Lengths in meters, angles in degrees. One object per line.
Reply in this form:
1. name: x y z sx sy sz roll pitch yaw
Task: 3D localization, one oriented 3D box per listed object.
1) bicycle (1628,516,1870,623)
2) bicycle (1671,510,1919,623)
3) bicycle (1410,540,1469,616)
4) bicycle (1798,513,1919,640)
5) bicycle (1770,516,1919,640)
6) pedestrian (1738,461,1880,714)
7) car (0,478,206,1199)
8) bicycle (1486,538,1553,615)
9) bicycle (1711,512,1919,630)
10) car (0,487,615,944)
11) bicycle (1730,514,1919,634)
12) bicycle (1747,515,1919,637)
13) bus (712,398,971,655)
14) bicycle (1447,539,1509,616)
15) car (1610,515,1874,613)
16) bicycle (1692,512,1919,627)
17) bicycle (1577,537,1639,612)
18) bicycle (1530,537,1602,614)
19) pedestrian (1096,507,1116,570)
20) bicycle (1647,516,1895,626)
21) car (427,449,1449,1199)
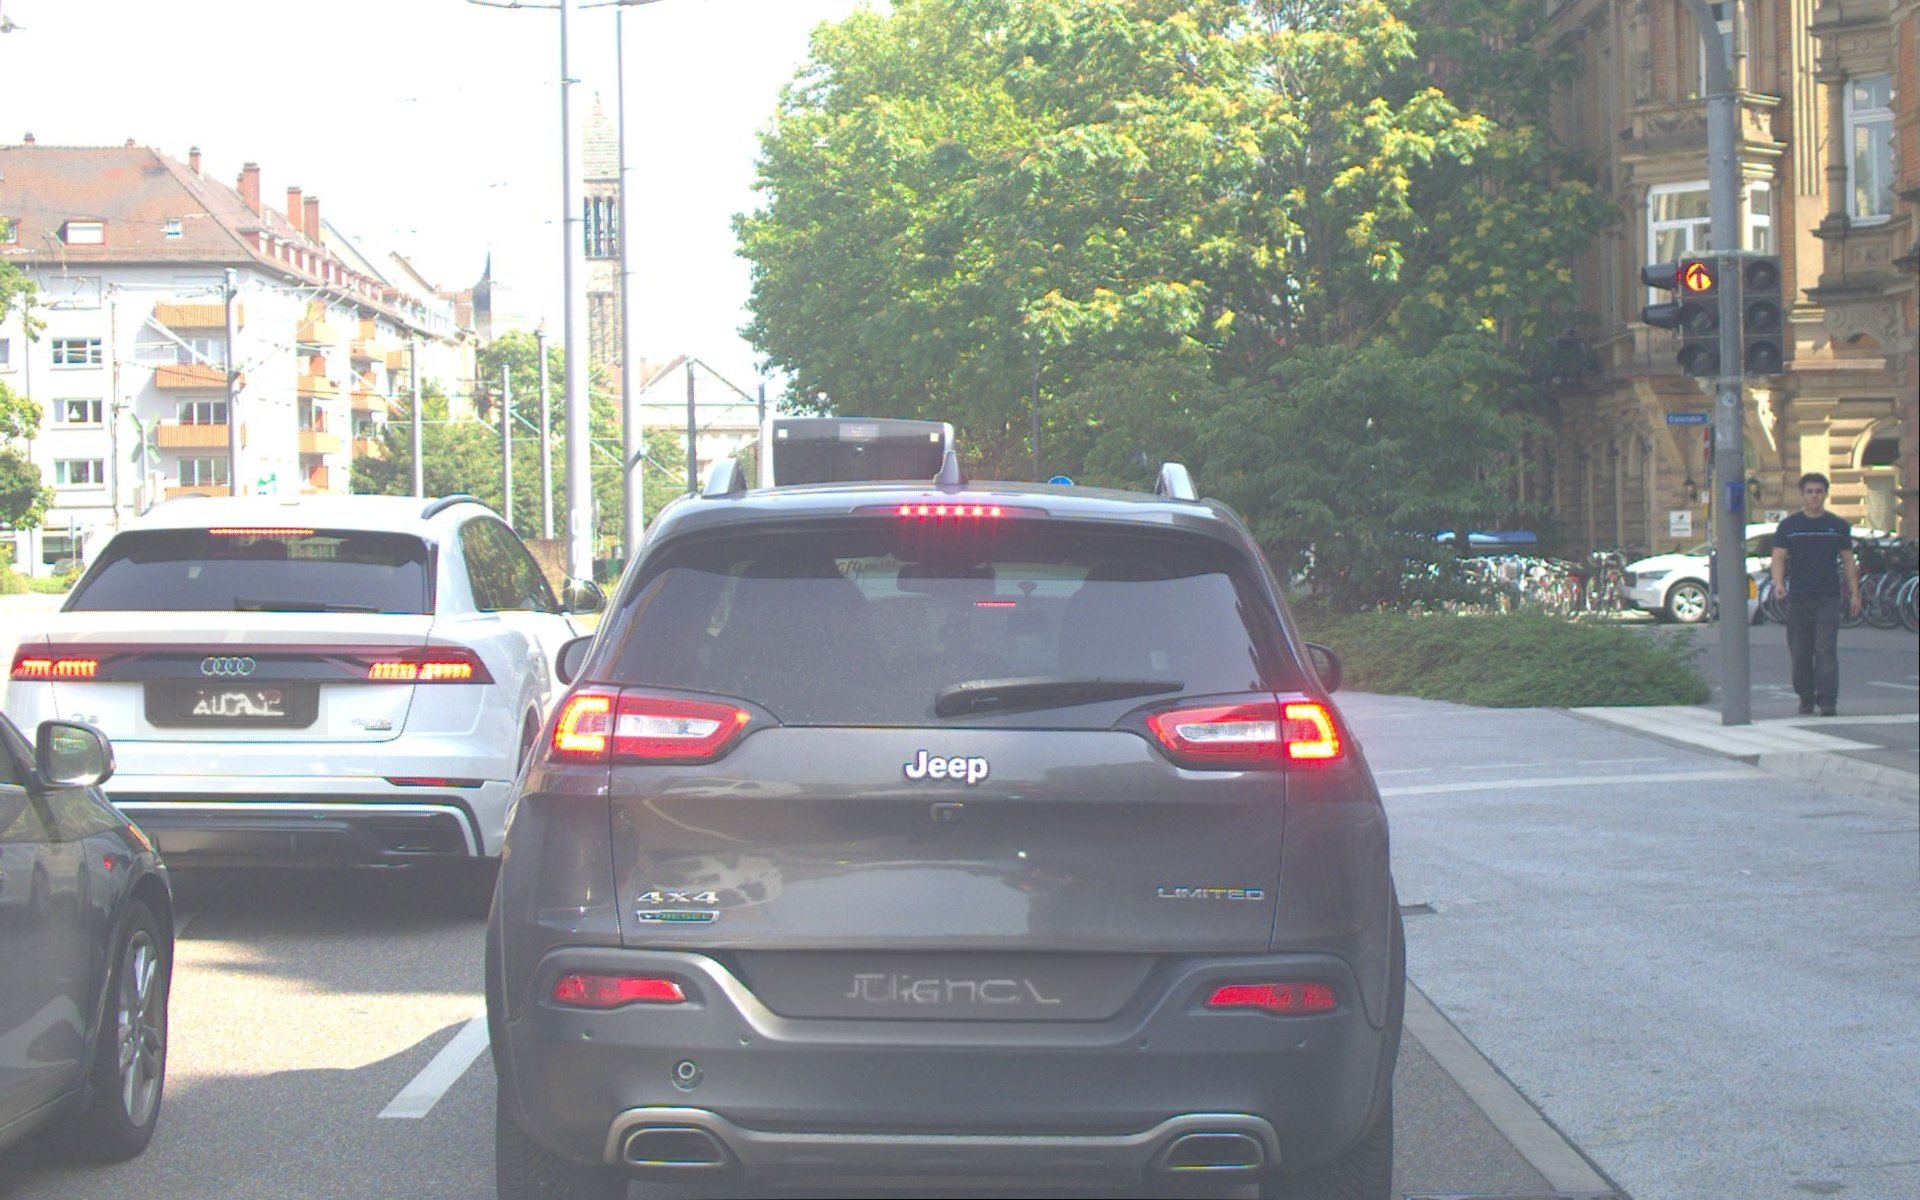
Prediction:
1. bicycle: 10.580 -0.415 46.185 3.003 1.368 0.947 -1 1 -1
2. bicycle: 10.683 -0.431 43.825 3.003 1.368 0.947 -1 1 -1
3. bicycle: 8.140 -0.388 58.487 0.649 1.249 3.014 -1 1 2
4. bicycle: 10.885 -0.282 38.011 2.993 1.366 0.871 -1 1 -1
5. bicycle: 10.782 -0.271 38.917 2.993 1.366 0.871 -1 1 -1
6. pedestrian: 6.022 -0.091 24.357 0.899 1.735 0.768 -2 1 15
7. car: -2.806 0.558 6.720 1.747 1.609 4.309 0 1 0
8. bicycle: 9.501 -0.415 58.460 0.732 1.249 3.014 -1 1 2
9. bicycle: 10.734 -0.363 41.720 3.003 1.368 0.947 -1 1 -1
10. car: -2.608 0.367 14.528 1.902 1.646 4.309 0 1 0
11. bicycle: 10.745 -0.323 40.777 2.993 1.366 0.871 -1 1 -1
12. bicycle: 10.732 -0.294 39.830 2.993 1.366 0.871 -1 1 -1
13. bus: -1.899 -0.987 48.716 2.743 3.096 11.958 -2 1 -6
14. bicycle: 8.801 -0.403 58.462 0.649 1.249 3.014 -1 1 2
15. car: 13.056 -0.612 57.489 3.931 1.515 1.683 -1 1 -7
16. bicycle: 10.734 -0.389 42.815 3.003 1.368 0.947 -1 1 -1
17. bicycle: 11.089 -0.455 58.908 0.658 1.245 2.412 -1 1 2
18. bicycle: 10.290 -0.431 58.475 0.763 1.249 3.014 -1 1 2
19. pedestrian: 4.652 -1.969 109.572 0.528 2.007 0.532 -1 1 -2
20. bicycle: 10.633 -0.380 45.143 3.003 1.368 0.947 -1 1 -1
21. car: -0.021 0.511 8.358 1.832 1.646 4.308 0 1 1
